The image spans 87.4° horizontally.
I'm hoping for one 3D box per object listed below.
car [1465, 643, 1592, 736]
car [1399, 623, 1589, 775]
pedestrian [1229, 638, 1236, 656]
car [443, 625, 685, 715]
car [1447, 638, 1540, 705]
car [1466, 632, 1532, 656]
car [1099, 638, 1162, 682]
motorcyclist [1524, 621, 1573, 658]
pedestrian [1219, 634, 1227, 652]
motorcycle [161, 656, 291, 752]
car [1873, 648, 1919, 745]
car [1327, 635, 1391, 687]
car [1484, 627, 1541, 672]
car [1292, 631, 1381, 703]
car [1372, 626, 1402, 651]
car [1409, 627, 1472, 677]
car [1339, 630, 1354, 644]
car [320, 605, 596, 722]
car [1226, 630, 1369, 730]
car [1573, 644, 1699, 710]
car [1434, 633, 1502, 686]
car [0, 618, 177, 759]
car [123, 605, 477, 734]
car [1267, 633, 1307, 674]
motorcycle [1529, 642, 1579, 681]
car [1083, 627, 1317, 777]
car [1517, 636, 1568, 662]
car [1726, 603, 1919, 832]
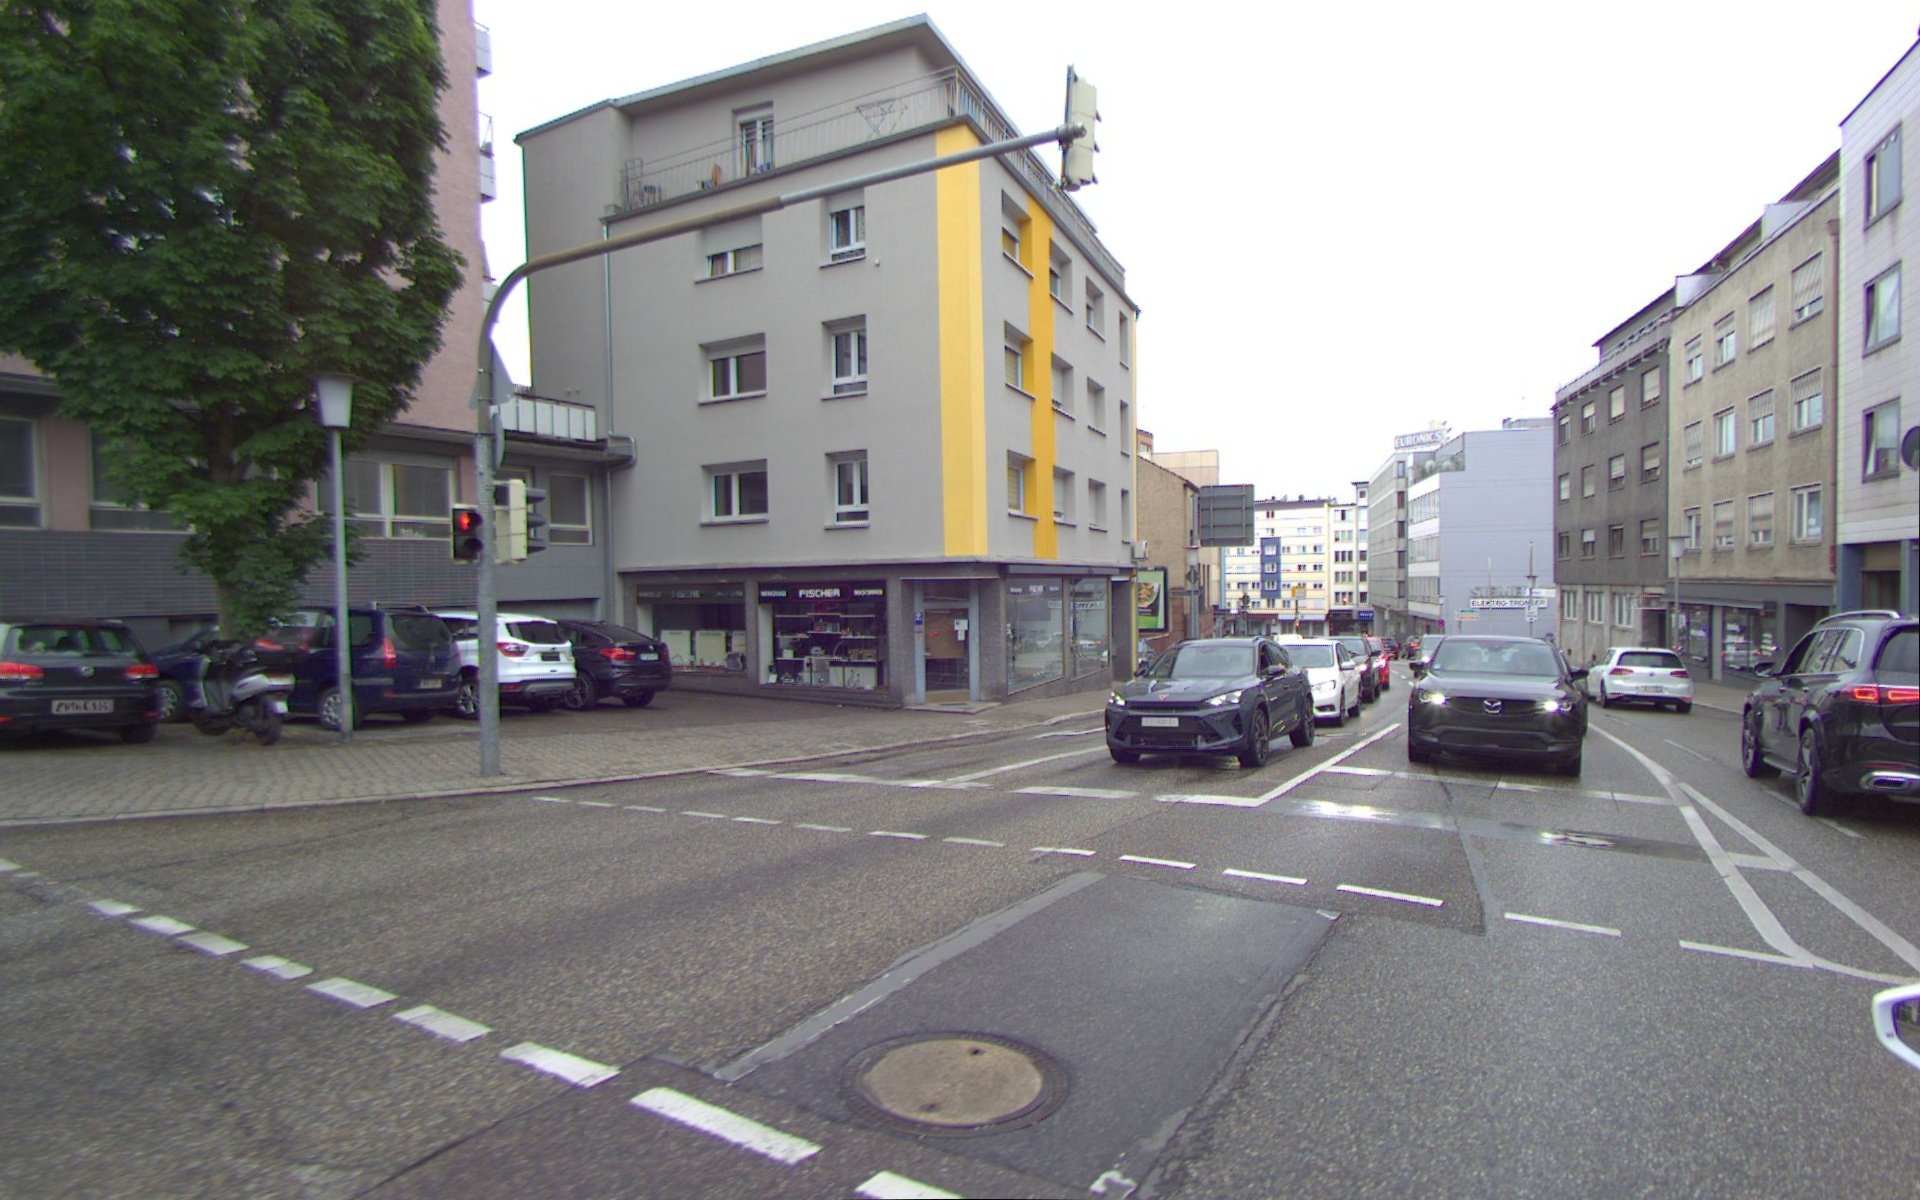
[{"bbox_3d":[10.136,1.509,18.097,1.779,1.433,4.373,-1,-3,28],"label":"car"},{"bbox_3d":[6.750,1.138,12.673,1.792,1.557,4.372,0,-3,29],"label":"car"},{"bbox_3d":[25.839,4.463,95.258,0.660,1.675,0.606,0,3,13],"label":"pedestrian"},{"bbox_3d":[-7.433,1.284,18.955,3.920,1.515,1.862,0,-3,18],"label":"car"},{"bbox_3d":[13.659,1.778,25.944,1.778,1.541,4.560,0,-3,24],"label":"car"},{"bbox_3d":[40.126,3.311,74.804,3.923,1.618,1.799,2,-2,-3],"label":"car"},{"bbox_3d":[6.438,2.195,37.532,1.662,1.474,4.666,1,-1,18],"label":"car"},{"bbox_3d":[21.089,1.387,36.033,0.853,1.072,2.938,0,3,17],"label":"motorcyclist"},{"bbox_3d":[24.849,4.072,94.958,0.727,1.675,0.606,0,3,13],"label":"pedestrian"},{"bbox_3d":[-8.963,1.244,12.256,1.760,1.046,0.453,1,0,24],"label":"motorcycle"},{"bbox_3d":[14.732,1.372,13.982,1.737,1.410,4.375,-3,-4,25],"label":"car"},{"bbox_3d":[12.663,1.912,31.900,1.712,1.535,4.130,-2,-3,22],"label":"car"},{"bbox_3d":[26.403,2.333,48.102,1.724,1.804,3.574,0,3,17],"label":"car"},{"bbox_3d":[9.736,1.693,25.786,1.778,1.652,4.340,-3,-4,24],"label":"car"},{"bbox_3d":[27.852,2.527,65.643,1.671,1.499,4.290,2,-2,22],"label":"car"},{"bbox_3d":[18.521,1.980,38.868,1.777,1.727,4.561,2,-2,21],"label":"car"},{"bbox_3d":[45.473,4.358,118.194,1.497,1.568,3.108,0,-1,18],"label":"car"},{"bbox_3d":[-8.475,1.044,17.063,3.920,1.817,1.862,0,-3,16],"label":"car"},{"bbox_3d":[6.479,1.395,18.954,1.780,1.563,4.371,0,-1,29],"label":"car"},{"bbox_3d":[16.506,1.832,24.749,1.801,1.481,4.377,-1,-3,24],"label":"car"},{"bbox_3d":[16.264,1.876,32.325,1.671,1.499,4.289,2,-2,24],"label":"car"},{"bbox_3d":[-11.417,0.958,12.116,3.928,1.378,1.735,1,-1,30],"label":"car"},{"bbox_3d":[-9.698,0.994,14.914,4.258,1.751,1.775,0,-3,9],"label":"car"},{"bbox_3d":[15.897,2.585,48.820,1.699,1.853,4.062,-2,-3,18],"label":"car"},{"bbox_3d":[21.053,2.156,35.647,0.853,1.072,2.938,0,3,17],"label":"motorcycle"},{"bbox_3d":[3.237,1.126,12.829,1.792,1.497,4.371,0,-1,29],"label":"car"},{"bbox_3d":[36.604,3.059,63.238,1.767,1.496,4.487,1,-1,17],"label":"car"},{"bbox_3d":[8.952,1.020,9.585,1.991,1.762,4.739,0,-3,30],"label":"car"}]
